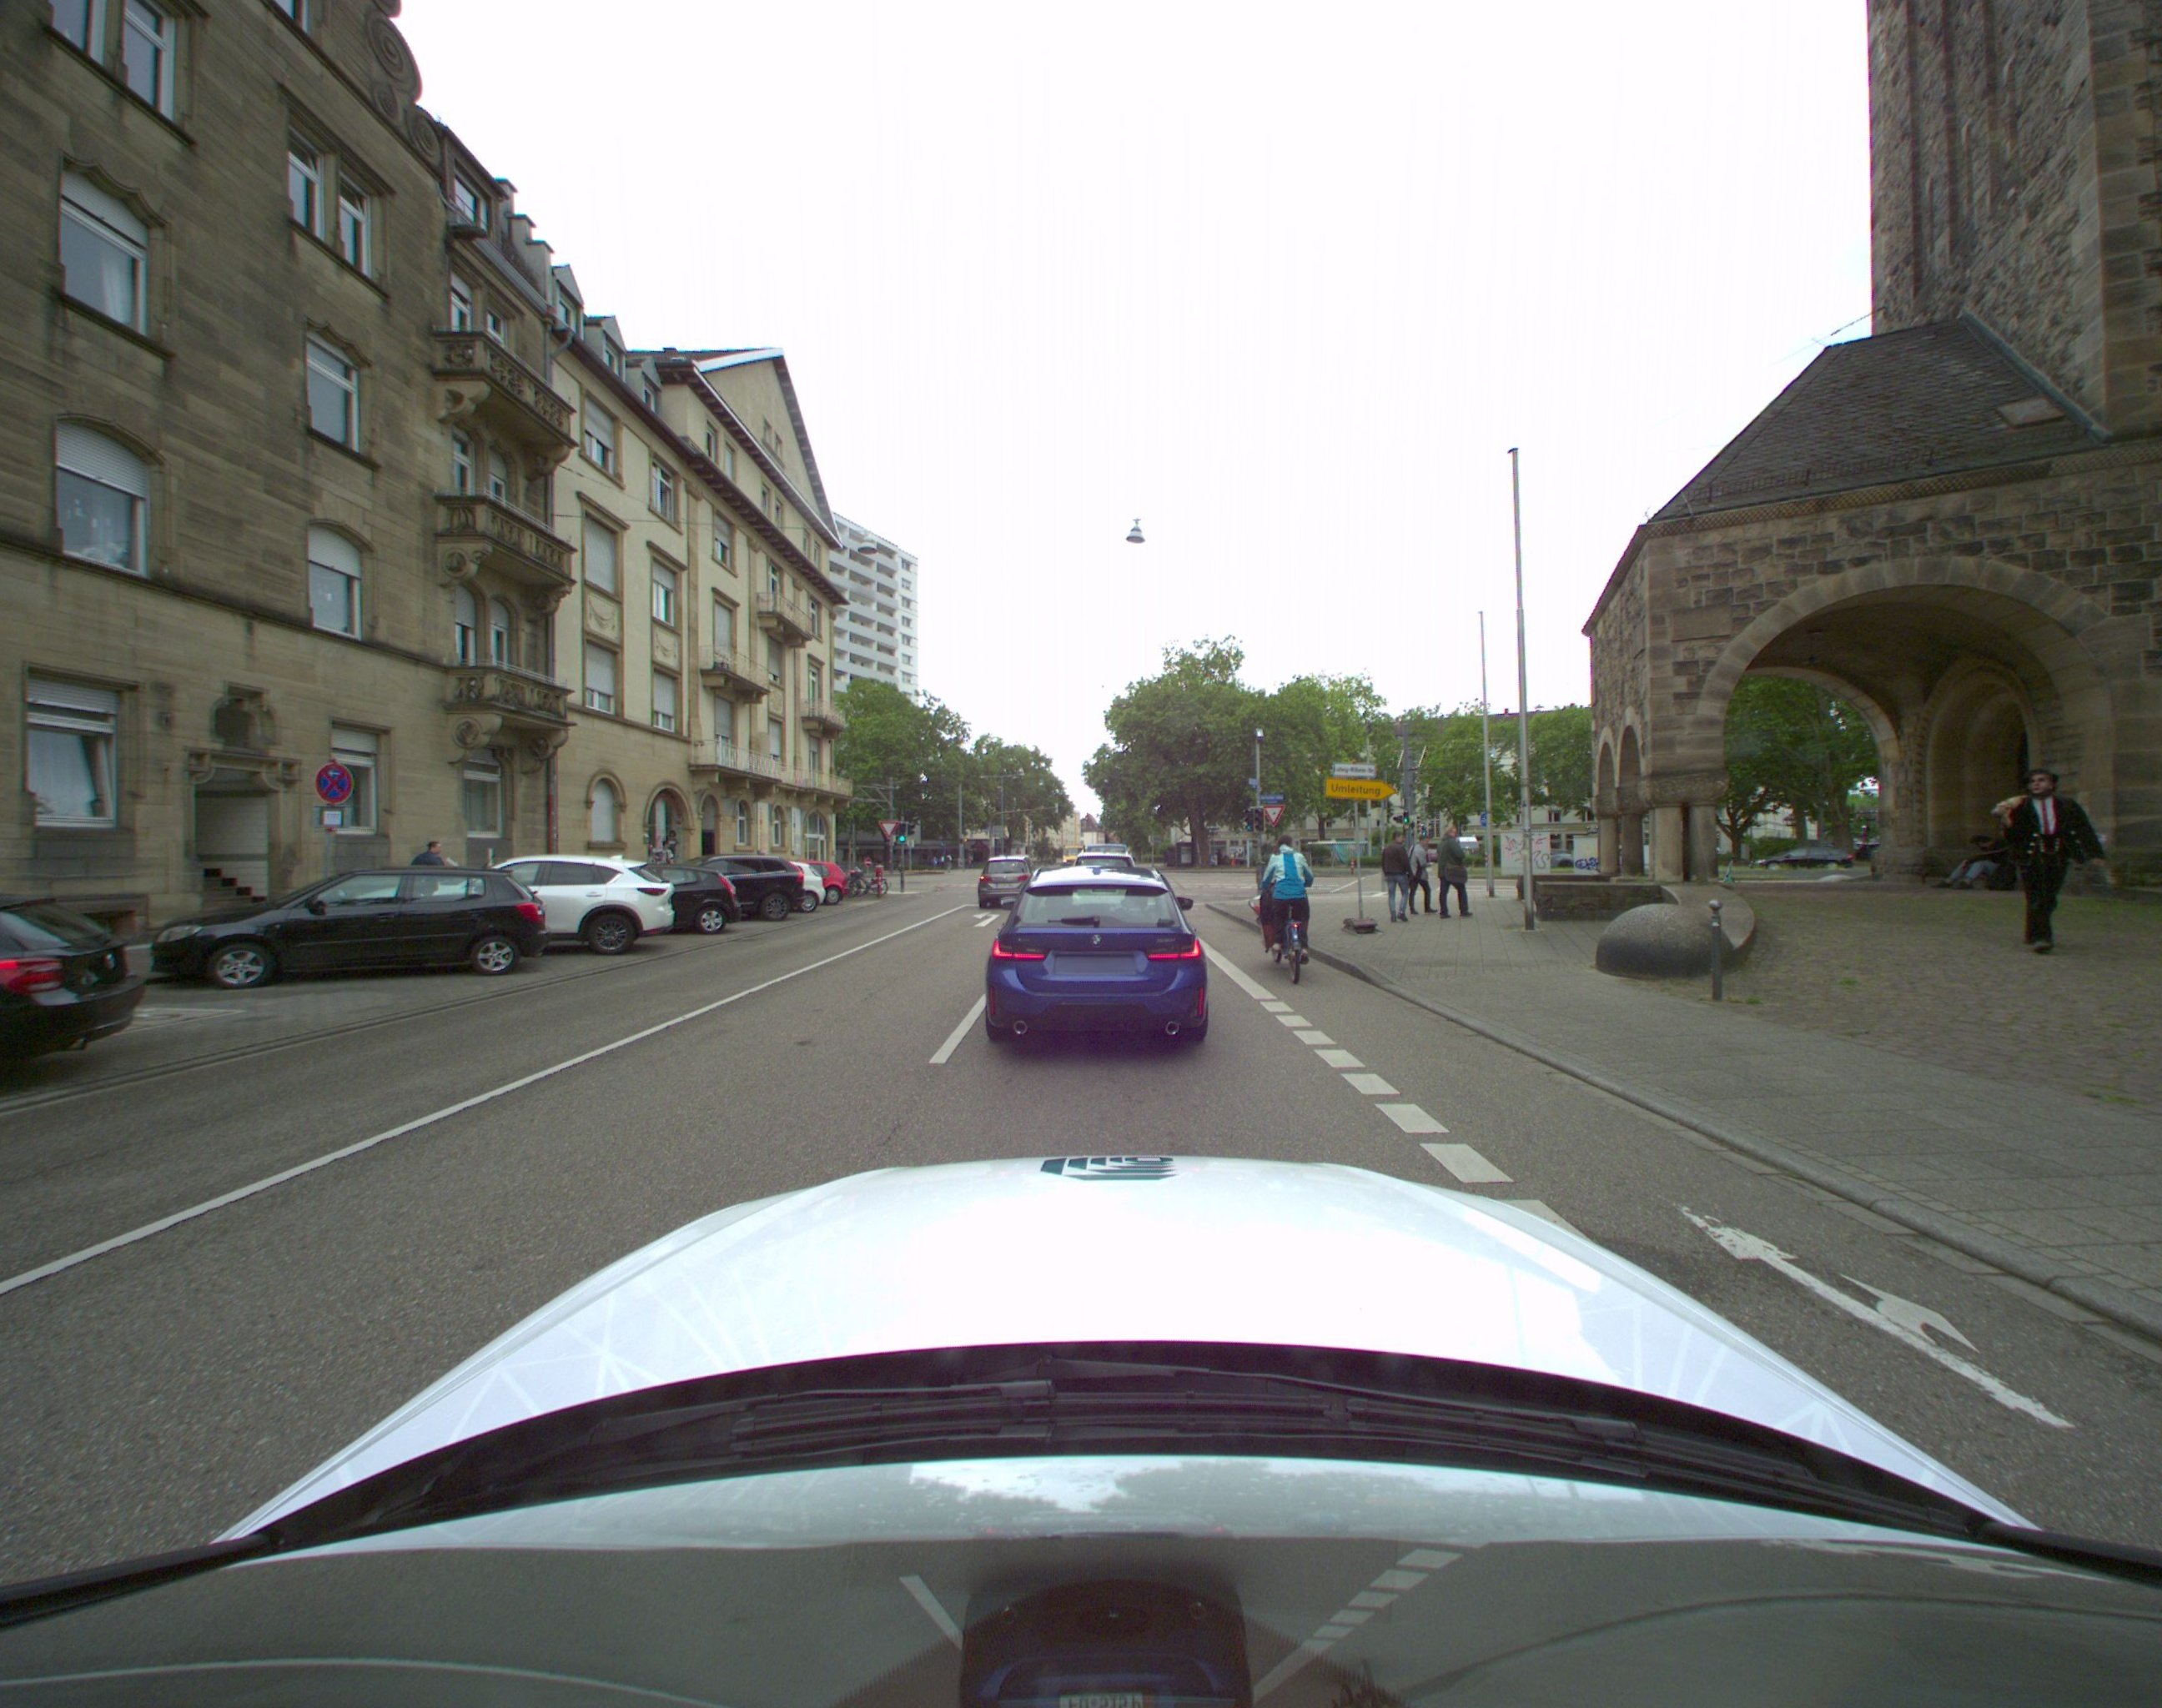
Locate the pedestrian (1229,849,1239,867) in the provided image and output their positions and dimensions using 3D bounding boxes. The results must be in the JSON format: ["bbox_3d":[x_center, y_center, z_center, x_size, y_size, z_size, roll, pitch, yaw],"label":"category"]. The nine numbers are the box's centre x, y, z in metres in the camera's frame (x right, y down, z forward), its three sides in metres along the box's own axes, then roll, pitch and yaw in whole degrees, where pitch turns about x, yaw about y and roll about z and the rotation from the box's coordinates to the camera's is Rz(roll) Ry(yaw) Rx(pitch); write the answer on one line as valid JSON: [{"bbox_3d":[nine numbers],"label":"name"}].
[{"bbox_3d":[15.295,0.372,81.344,0.781,1.743,0.925,-1,-1,0],"label":"pedestrian"}]

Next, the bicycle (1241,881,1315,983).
[{"bbox_3d":[2.508,0.949,10.577,0.492,1.098,2.139,-1,0,2],"label":"bicycle"}]

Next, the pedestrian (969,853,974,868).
[{"bbox_3d":[-13.503,0.804,100.028,0.571,1.771,0.513,-1,0,-11],"label":"pedestrian"}]

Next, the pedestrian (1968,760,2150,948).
[{"bbox_3d":[10.073,-0.022,8.450,0.806,1.808,1.026,-1,3,22],"label":"pedestrian"}]

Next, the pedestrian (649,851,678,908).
[{"bbox_3d":[-13.109,0.795,25.574,0.564,1.785,0.551,-1,0,3],"label":"pedestrian"}]

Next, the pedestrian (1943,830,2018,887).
[{"bbox_3d":[15.501,0.073,14.053,0.665,0.951,0.618,-1,0,24],"label":"pedestrian"}]

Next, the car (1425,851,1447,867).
[{"bbox_3d":[35.116,0.445,80.446,1.649,1.515,3.962,-1,0,28],"label":"car"}]

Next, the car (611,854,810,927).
[{"bbox_3d":[-9.218,0.822,20.448,4.248,1.652,1.711,0,-1,-41],"label":"car"}]

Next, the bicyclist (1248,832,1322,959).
[{"bbox_3d":[2.578,0.501,10.385,0.683,1.518,1.059,-1,0,2],"label":"bicyclist"}]

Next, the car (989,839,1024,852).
[{"bbox_3d":[-9.690,-1.084,106.087,4.014,1.706,1.980,0,-1,-32],"label":"car"}]

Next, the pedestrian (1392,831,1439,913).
[{"bbox_3d":[7.127,0.380,17.394,0.629,1.673,0.971,-3,0,8],"label":"pedestrian"}]

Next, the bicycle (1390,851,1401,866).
[{"bbox_3d":[21.175,0.283,54.821,0.546,0.995,2.072,-1,0,24],"label":"bicycle"}]

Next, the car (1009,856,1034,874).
[{"bbox_3d":[-4.937,0.894,68.019,1.643,1.447,3.512,-1,0,2],"label":"car"}]

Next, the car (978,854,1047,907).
[{"bbox_3d":[-2.092,0.793,25.967,1.726,1.525,4.002,-1,0,2],"label":"car"}]

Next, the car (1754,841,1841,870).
[{"bbox_3d":[41.326,0.112,47.048,3.425,1.561,1.697,-1,-1,24],"label":"car"}]

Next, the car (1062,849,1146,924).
[{"bbox_3d":[0.565,0.701,19.663,1.808,1.592,4.002,-1,0,2],"label":"car"}]

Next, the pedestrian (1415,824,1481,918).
[{"bbox_3d":[7.272,0.328,16.195,0.801,1.758,0.969,-3,0,1],"label":"pedestrian"}]

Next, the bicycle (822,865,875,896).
[{"bbox_3d":[-9.170,1.046,32.084,1.880,1.035,0.442,5,0,-1],"label":"bicycle"}]

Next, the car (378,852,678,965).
[{"bbox_3d":[-9.287,0.834,14.122,4.004,1.723,1.827,0,0,-23],"label":"car"}]

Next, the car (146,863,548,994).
[{"bbox_3d":[-9.637,0.899,11.122,3.830,1.497,1.552,1,-1,-37],"label":"car"}]

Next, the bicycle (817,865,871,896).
[{"bbox_3d":[-9.154,1.027,31.448,1.880,1.035,0.442,5,0,-1],"label":"bicycle"}]

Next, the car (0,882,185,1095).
[{"bbox_3d":[-9.133,0.925,5.375,4.016,1.417,1.644,1,-1,-34],"label":"car"}]

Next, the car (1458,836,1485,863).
[{"bbox_3d":[39.206,-0.467,81.635,2.214,2.639,5.480,-1,0,28],"label":"car"}]

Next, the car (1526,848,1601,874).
[{"bbox_3d":[30.563,0.445,51.741,3.940,1.561,1.697,-1,-1,24],"label":"car"}]

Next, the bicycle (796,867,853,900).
[{"bbox_3d":[-9.274,1.062,29.435,1.877,1.035,0.443,4,0,4],"label":"bicycle"}]

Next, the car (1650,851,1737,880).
[{"bbox_3d":[36.934,0.698,49.249,3.901,1.711,1.697,-1,-1,24],"label":"car"}]

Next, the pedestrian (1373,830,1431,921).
[{"bbox_3d":[6.190,0.405,15.755,0.672,1.686,0.969,-3,0,2],"label":"pedestrian"}]

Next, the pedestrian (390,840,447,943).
[{"bbox_3d":[-12.869,0.716,15.832,0.616,1.958,0.551,-1,0,2],"label":"pedestrian"}]

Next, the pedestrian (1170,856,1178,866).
[{"bbox_3d":[11.769,0.900,102.919,0.850,1.314,0.763,-1,-1,1],"label":"pedestrian"}]

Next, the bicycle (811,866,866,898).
[{"bbox_3d":[-9.156,1.047,30.785,1.880,1.035,0.442,5,0,-1],"label":"bicycle"}]

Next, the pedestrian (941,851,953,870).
[{"bbox_3d":[-12.220,0.607,74.201,0.668,1.771,0.730,-1,0,43],"label":"pedestrian"}]

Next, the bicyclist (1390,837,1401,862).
[{"bbox_3d":[21.167,-0.301,54.836,0.608,1.654,0.758,-1,0,23],"label":"bicyclist"}]

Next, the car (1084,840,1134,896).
[{"bbox_3d":[1.100,0.508,31.935,1.808,2.005,4.002,-1,0,2],"label":"car"}]

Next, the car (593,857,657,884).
[{"bbox_3d":[-14.819,0.534,26.515,0.910,0.834,2.015,0,-1,1],"label":"car"}]

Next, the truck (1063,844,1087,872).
[{"bbox_3d":[-0.557,0.340,74.689,2.068,2.408,5.461,-2,0,0],"label":"truck"}]

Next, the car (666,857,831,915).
[{"bbox_3d":[-9.380,0.880,23.142,4.021,1.472,1.546,2,0,-41],"label":"car"}]

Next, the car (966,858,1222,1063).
[{"bbox_3d":[0.159,0.775,7.985,1.808,1.405,4.321,-1,0,2],"label":"car"}]

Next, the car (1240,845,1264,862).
[{"bbox_3d":[22.669,-0.052,107.849,2.154,2.200,4.023,-1,0,26],"label":"car"}]

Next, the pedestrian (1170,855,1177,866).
[{"bbox_3d":[11.804,0.871,103.876,0.814,1.372,0.763,-1,-1,1],"label":"pedestrian"}]

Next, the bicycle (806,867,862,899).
[{"bbox_3d":[-9.159,1.063,30.249,1.880,1.035,0.442,5,0,-1],"label":"bicycle"}]

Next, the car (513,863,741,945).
[{"bbox_3d":[-9.470,0.956,17.108,4.017,1.494,1.713,0,-1,-36],"label":"car"}]

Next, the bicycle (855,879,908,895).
[{"bbox_3d":[-8.226,1.367,33.648,1.880,0.445,1.029,5,1,-1],"label":"bicycle"}]

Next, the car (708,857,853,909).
[{"bbox_3d":[-9.503,0.873,25.963,1.663,1.472,4.024,1,0,43],"label":"car"}]

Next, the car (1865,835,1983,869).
[{"bbox_3d":[55.547,-0.089,53.794,5.025,2.096,2.004,-1,-1,24],"label":"car"}]

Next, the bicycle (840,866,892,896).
[{"bbox_3d":[-8.591,1.075,32.618,1.880,1.035,0.442,5,0,-1],"label":"bicycle"}]
